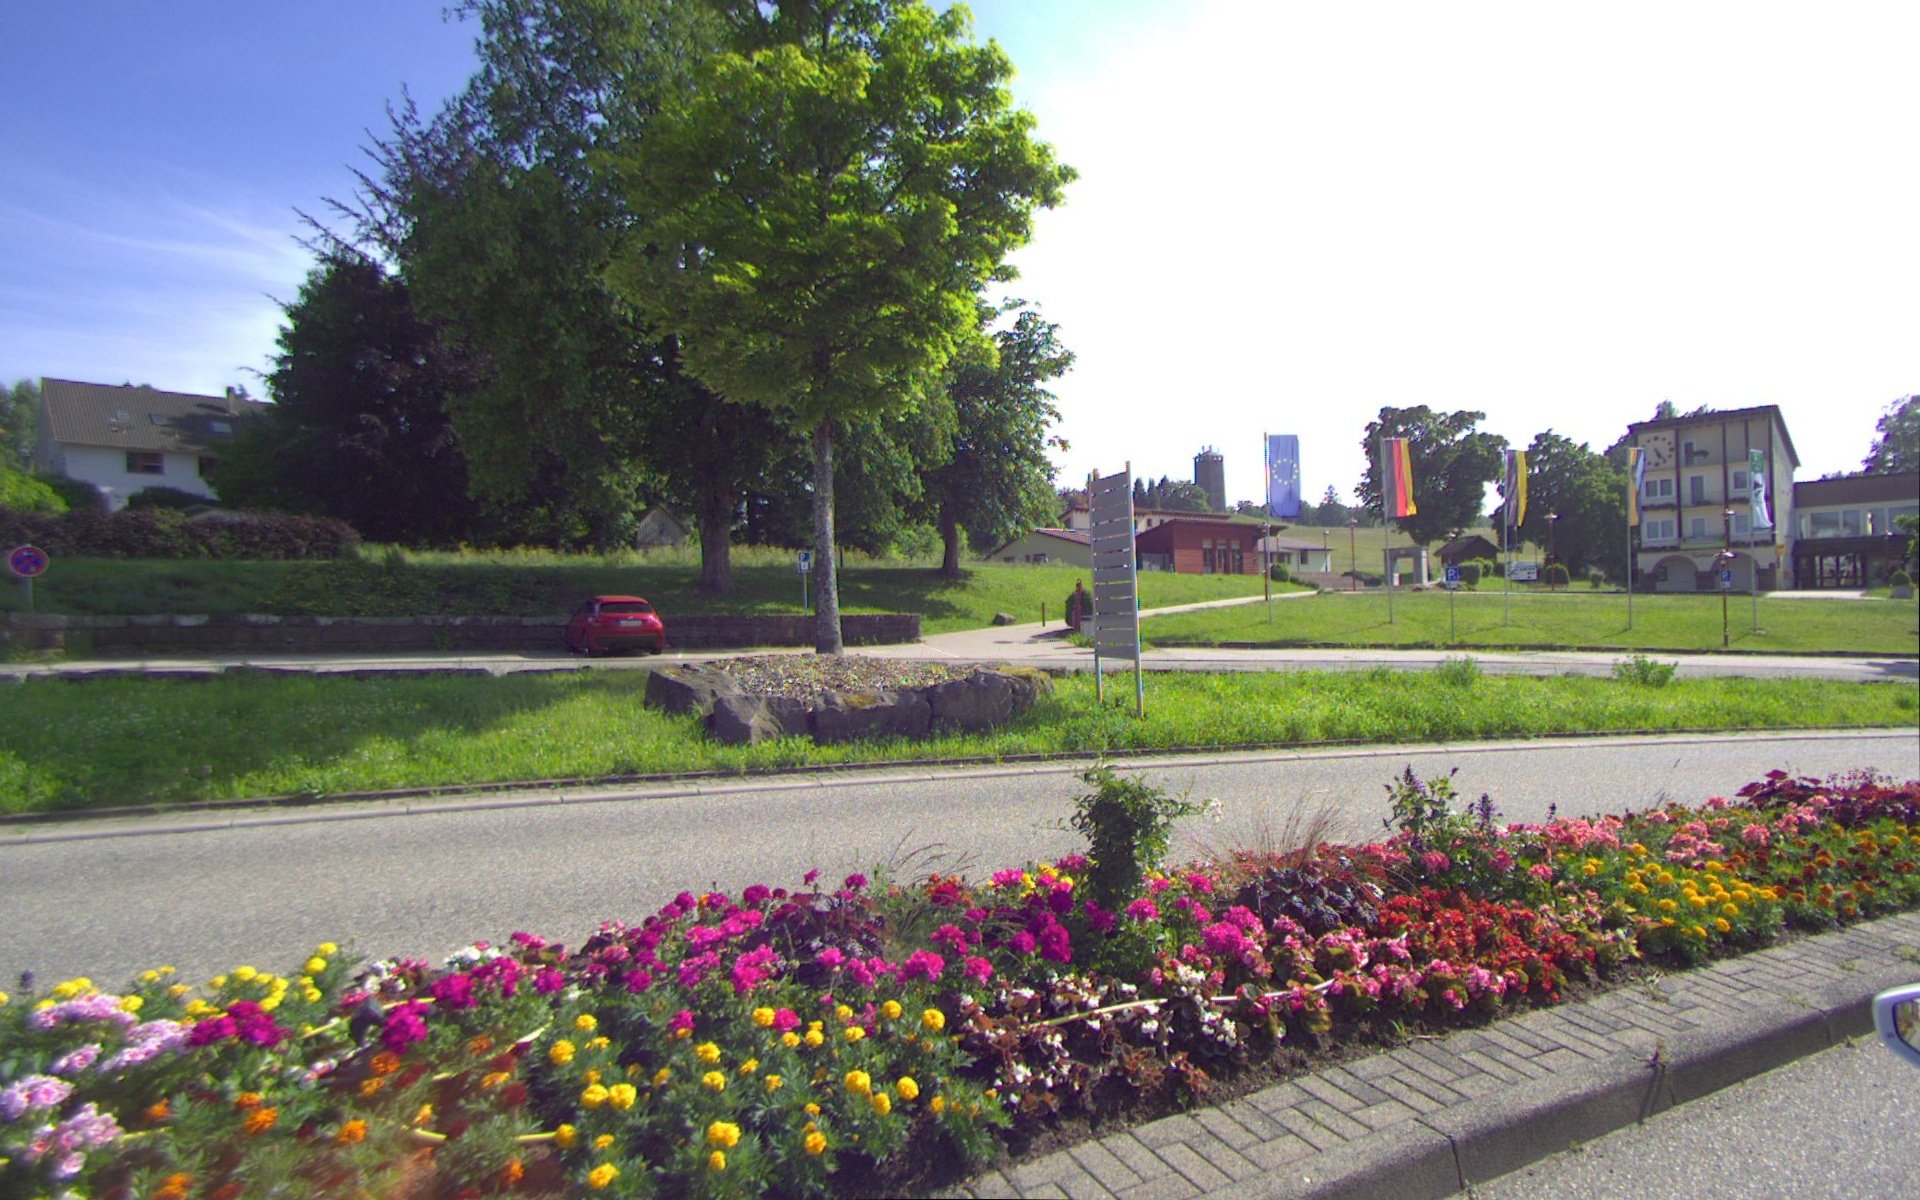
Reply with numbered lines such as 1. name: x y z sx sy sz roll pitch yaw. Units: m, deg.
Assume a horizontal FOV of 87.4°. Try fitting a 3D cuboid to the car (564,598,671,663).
1. car: -8.567 0.694 24.891 1.802 1.417 4.205 0 1 -29
